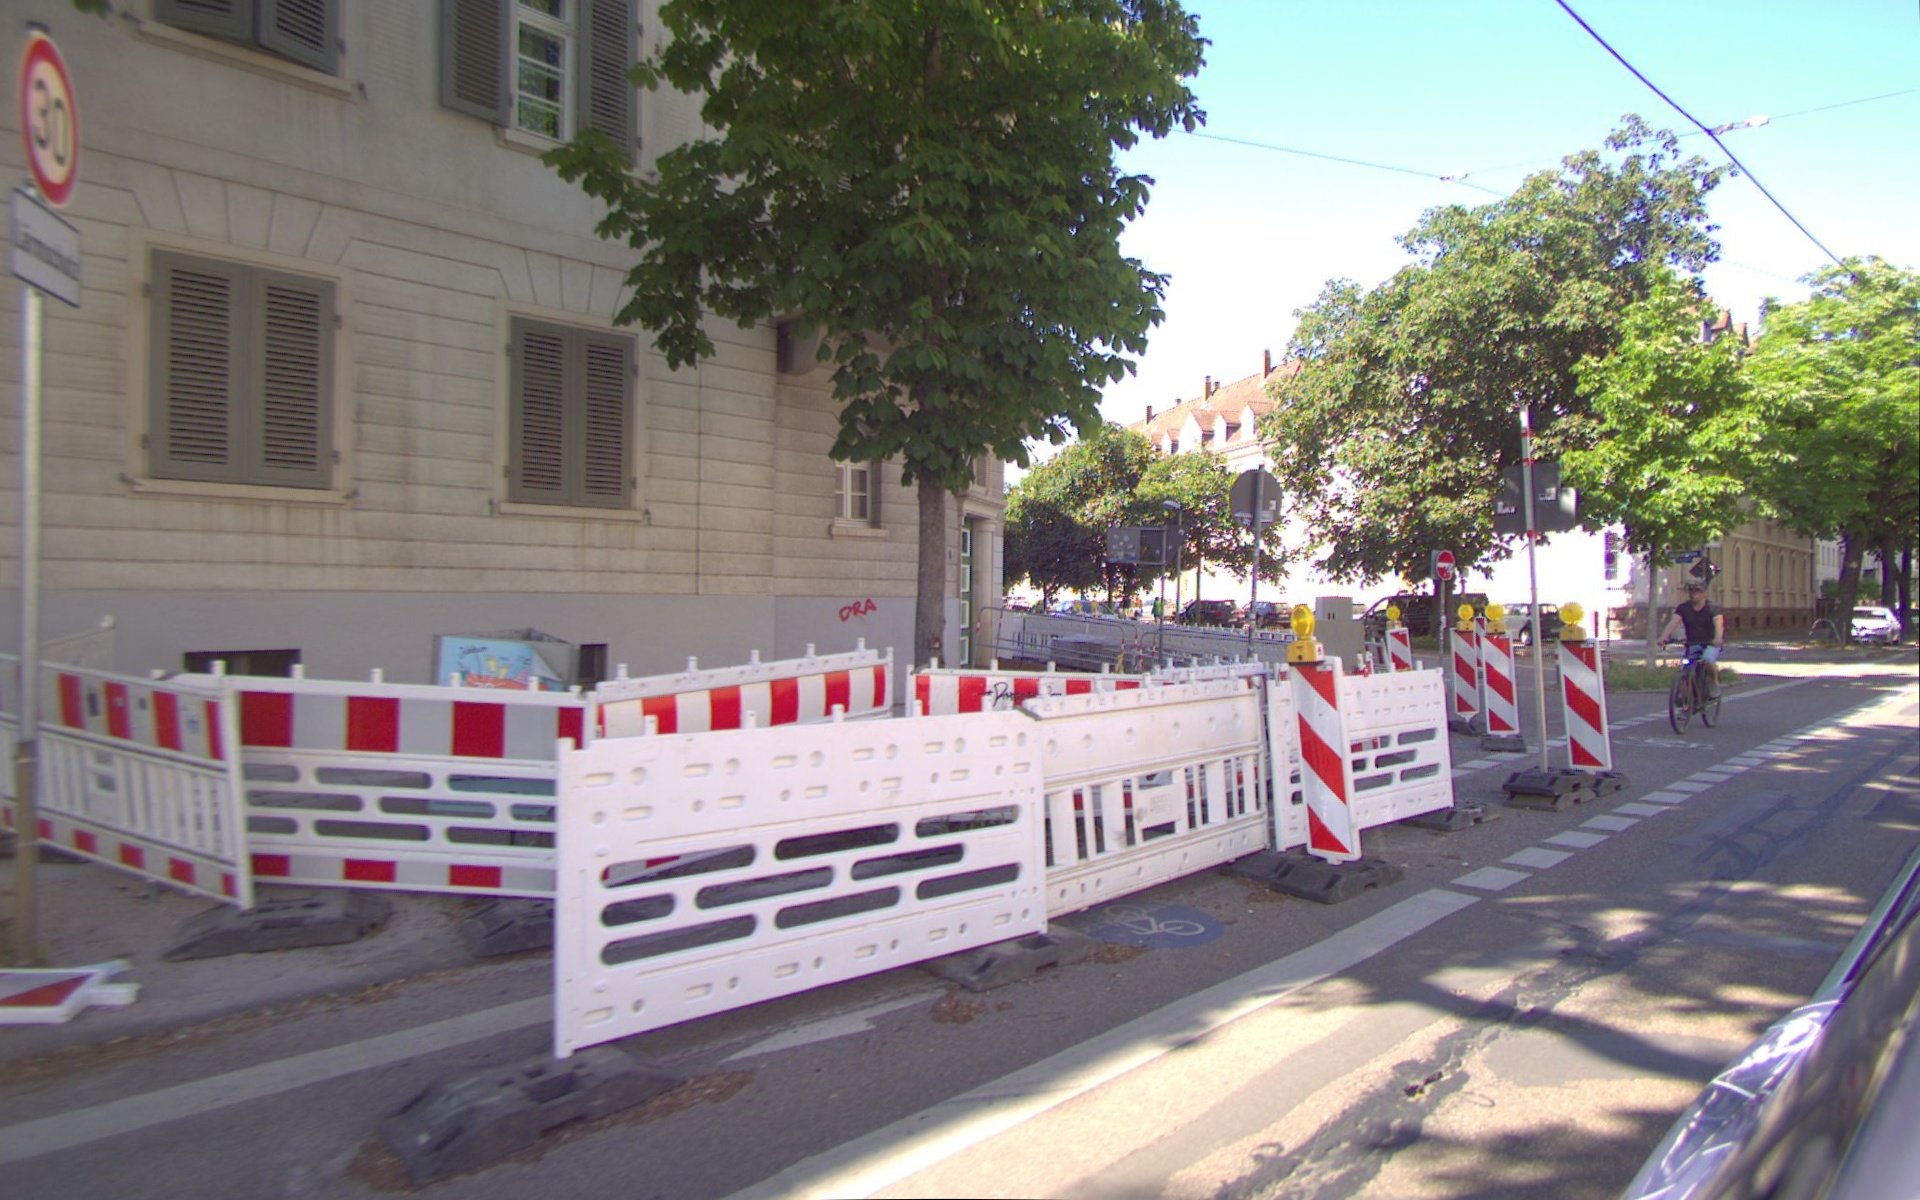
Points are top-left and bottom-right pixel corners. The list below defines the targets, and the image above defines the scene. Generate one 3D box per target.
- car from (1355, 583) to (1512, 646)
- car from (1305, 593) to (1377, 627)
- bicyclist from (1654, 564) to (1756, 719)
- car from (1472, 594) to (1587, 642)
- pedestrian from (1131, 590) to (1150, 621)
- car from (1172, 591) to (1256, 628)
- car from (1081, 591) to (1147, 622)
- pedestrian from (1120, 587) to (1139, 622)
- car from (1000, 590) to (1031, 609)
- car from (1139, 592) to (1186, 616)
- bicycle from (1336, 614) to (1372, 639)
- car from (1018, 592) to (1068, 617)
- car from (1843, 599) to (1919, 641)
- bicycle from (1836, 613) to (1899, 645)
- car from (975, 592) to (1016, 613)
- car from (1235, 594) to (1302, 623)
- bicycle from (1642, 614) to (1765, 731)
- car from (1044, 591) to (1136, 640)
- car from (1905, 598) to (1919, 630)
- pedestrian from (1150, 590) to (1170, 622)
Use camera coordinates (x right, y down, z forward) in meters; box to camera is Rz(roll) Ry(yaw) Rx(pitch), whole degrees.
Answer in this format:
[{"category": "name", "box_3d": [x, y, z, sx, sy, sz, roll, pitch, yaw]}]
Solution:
[{"category": "car", "box_3d": [15.778, 0.409, 34.080, 1.958, 1.914, 5.077, -2, 1, -15]}, {"category": "car", "box_3d": [17.723, 0.437, 47.227, 1.408, 1.519, 3.509, -1, 1, -13]}, {"category": "bicyclist", "box_3d": [8.931, 0.471, 12.127, 1.028, 1.761, 0.762, 1, -1, -41]}, {"category": "car", "box_3d": [20.548, 0.594, 36.667, 1.687, 1.557, 3.447, -3, 1, -13]}, {"category": "pedestrian", "box_3d": [9.444, 0.267, 53.002, 0.826, 1.588, 0.575, 0, 0, -17]}, {"category": "car", "box_3d": [12.123, 0.431, 48.661, 1.895, 1.630, 4.629, -2, 1, -15]}, {"category": "car", "box_3d": [9.012, 0.337, 59.766, 1.958, 1.651, 5.077, -2, 1, -15]}, {"category": "pedestrian", "box_3d": [9.228, 0.231, 55.074, 0.826, 1.865, 0.575, 0, 0, -17]}, {"category": "car", "box_3d": [5.276, -0.071, 96.772, 1.746, 1.740, 4.051, -3, 1, -13]}, {"category": "car", "box_3d": [13.163, 0.239, 65.972, 1.605, 1.519, 3.644, -1, 1, -13]}, {"category": "bicycle", "box_3d": [13.508, 0.911, 34.732, 0.410, 0.787, 1.386, 1, 1, -16]}, {"category": "car", "box_3d": [5.829, 0.304, 71.768, 1.958, 1.651, 5.077, -2, 1, -15]}, {"category": "car", "box_3d": [35.110, 0.724, 38.520, 4.140, 1.490, 1.704, 0, 2, -41]}, {"category": "bicycle", "box_3d": [31.314, 0.993, 34.950, 1.564, 0.992, 0.631, 3, 1, 41]}, {"category": "car", "box_3d": [2.901, 0.153, 84.481, 1.958, 1.651, 5.077, -2, 1, -15]}, {"category": "car", "box_3d": [16.170, 0.407, 53.254, 1.605, 1.434, 3.970, -1, 1, -13]}, {"category": "bicycle", "box_3d": [8.928, 0.812, 12.117, 2.059, 1.258, 0.762, 0, -1, -42]}, {"category": "car", "box_3d": [4.465, 0.506, 35.346, 1.749, 1.505, 3.981, 3, 0, -15]}, {"category": "car", "box_3d": [48.561, 0.710, 50.455, 4.670, 1.502, 1.821, 0, 2, -44]}, {"category": "pedestrian", "box_3d": [10.029, 0.285, 50.714, 0.826, 1.588, 0.575, 0, 0, -17]}]
